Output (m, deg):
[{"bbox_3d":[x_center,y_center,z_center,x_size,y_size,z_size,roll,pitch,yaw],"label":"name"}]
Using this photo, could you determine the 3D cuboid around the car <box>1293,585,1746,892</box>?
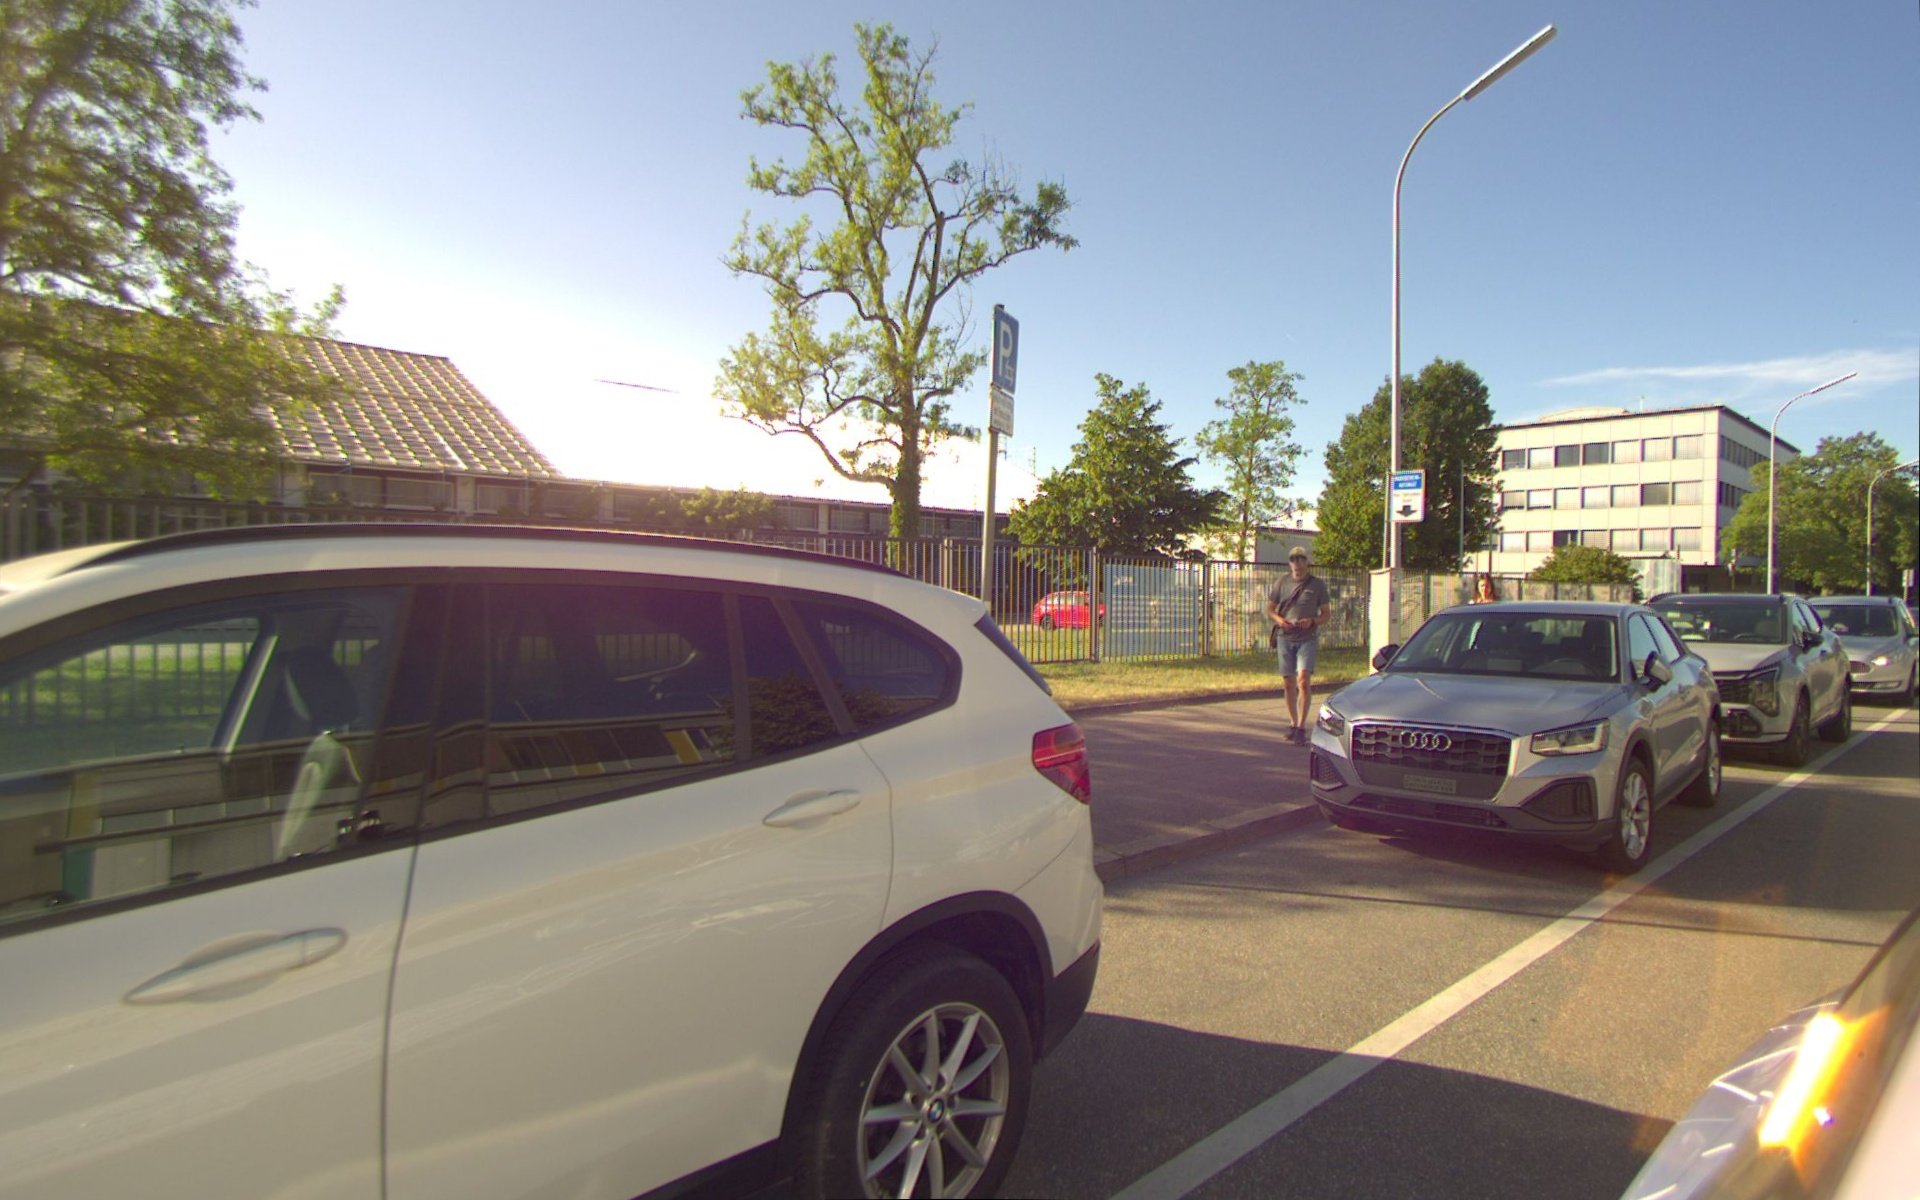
[{"bbox_3d":[4.024,0.686,6.972,3.915,1.506,1.701,0,-1,-45],"label":"car"}]

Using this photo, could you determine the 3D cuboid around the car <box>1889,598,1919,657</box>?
[{"bbox_3d":[26.907,0.715,27.698,4.642,1.529,1.811,0,-1,-43],"label":"car"}]

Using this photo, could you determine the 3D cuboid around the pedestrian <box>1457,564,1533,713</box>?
[{"bbox_3d":[6.102,0.422,11.547,0.671,1.632,0.540,0,-1,-42],"label":"pedestrian"}]

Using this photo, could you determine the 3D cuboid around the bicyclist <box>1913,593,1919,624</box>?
[{"bbox_3d":[40.335,0.349,41.851,0.844,1.284,1.102,1,1,-26],"label":"bicyclist"}]

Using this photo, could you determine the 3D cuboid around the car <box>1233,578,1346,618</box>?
[{"bbox_3d":[15.251,-0.118,47.010,4.629,1.689,1.969,2,1,44],"label":"car"}]

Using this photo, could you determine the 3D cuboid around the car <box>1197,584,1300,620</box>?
[{"bbox_3d":[12.210,0.058,42.966,1.648,1.397,3.891,0,1,-44],"label":"car"}]

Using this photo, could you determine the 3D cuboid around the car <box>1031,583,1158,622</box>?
[{"bbox_3d":[4.574,0.094,34.802,1.798,1.268,4.145,0,-1,-44],"label":"car"}]

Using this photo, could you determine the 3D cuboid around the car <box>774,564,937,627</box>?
[{"bbox_3d":[-3.072,-0.097,28.958,2.061,1.665,4.969,0,-1,-44],"label":"car"}]

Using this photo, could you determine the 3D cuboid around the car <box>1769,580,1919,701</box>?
[{"bbox_3d":[15.030,0.591,16.815,4.624,1.744,1.811,0,-1,-43],"label":"car"}]

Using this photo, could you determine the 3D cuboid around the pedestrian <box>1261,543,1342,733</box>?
[{"bbox_3d":[3.230,0.346,9.572,0.514,1.730,0.521,0,-1,-42],"label":"pedestrian"}]

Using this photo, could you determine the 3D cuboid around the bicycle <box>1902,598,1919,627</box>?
[{"bbox_3d":[40.387,0.564,41.890,0.654,1.157,1.906,2,2,-26],"label":"bicycle"}]

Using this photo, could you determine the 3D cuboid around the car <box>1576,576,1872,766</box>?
[{"bbox_3d":[8.232,0.615,10.756,4.277,1.627,1.703,0,-1,-42],"label":"car"}]

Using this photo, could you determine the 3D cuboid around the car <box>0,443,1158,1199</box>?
[{"bbox_3d":[-1.599,0.628,1.933,4.191,1.608,1.814,0,-1,-44],"label":"car"}]
